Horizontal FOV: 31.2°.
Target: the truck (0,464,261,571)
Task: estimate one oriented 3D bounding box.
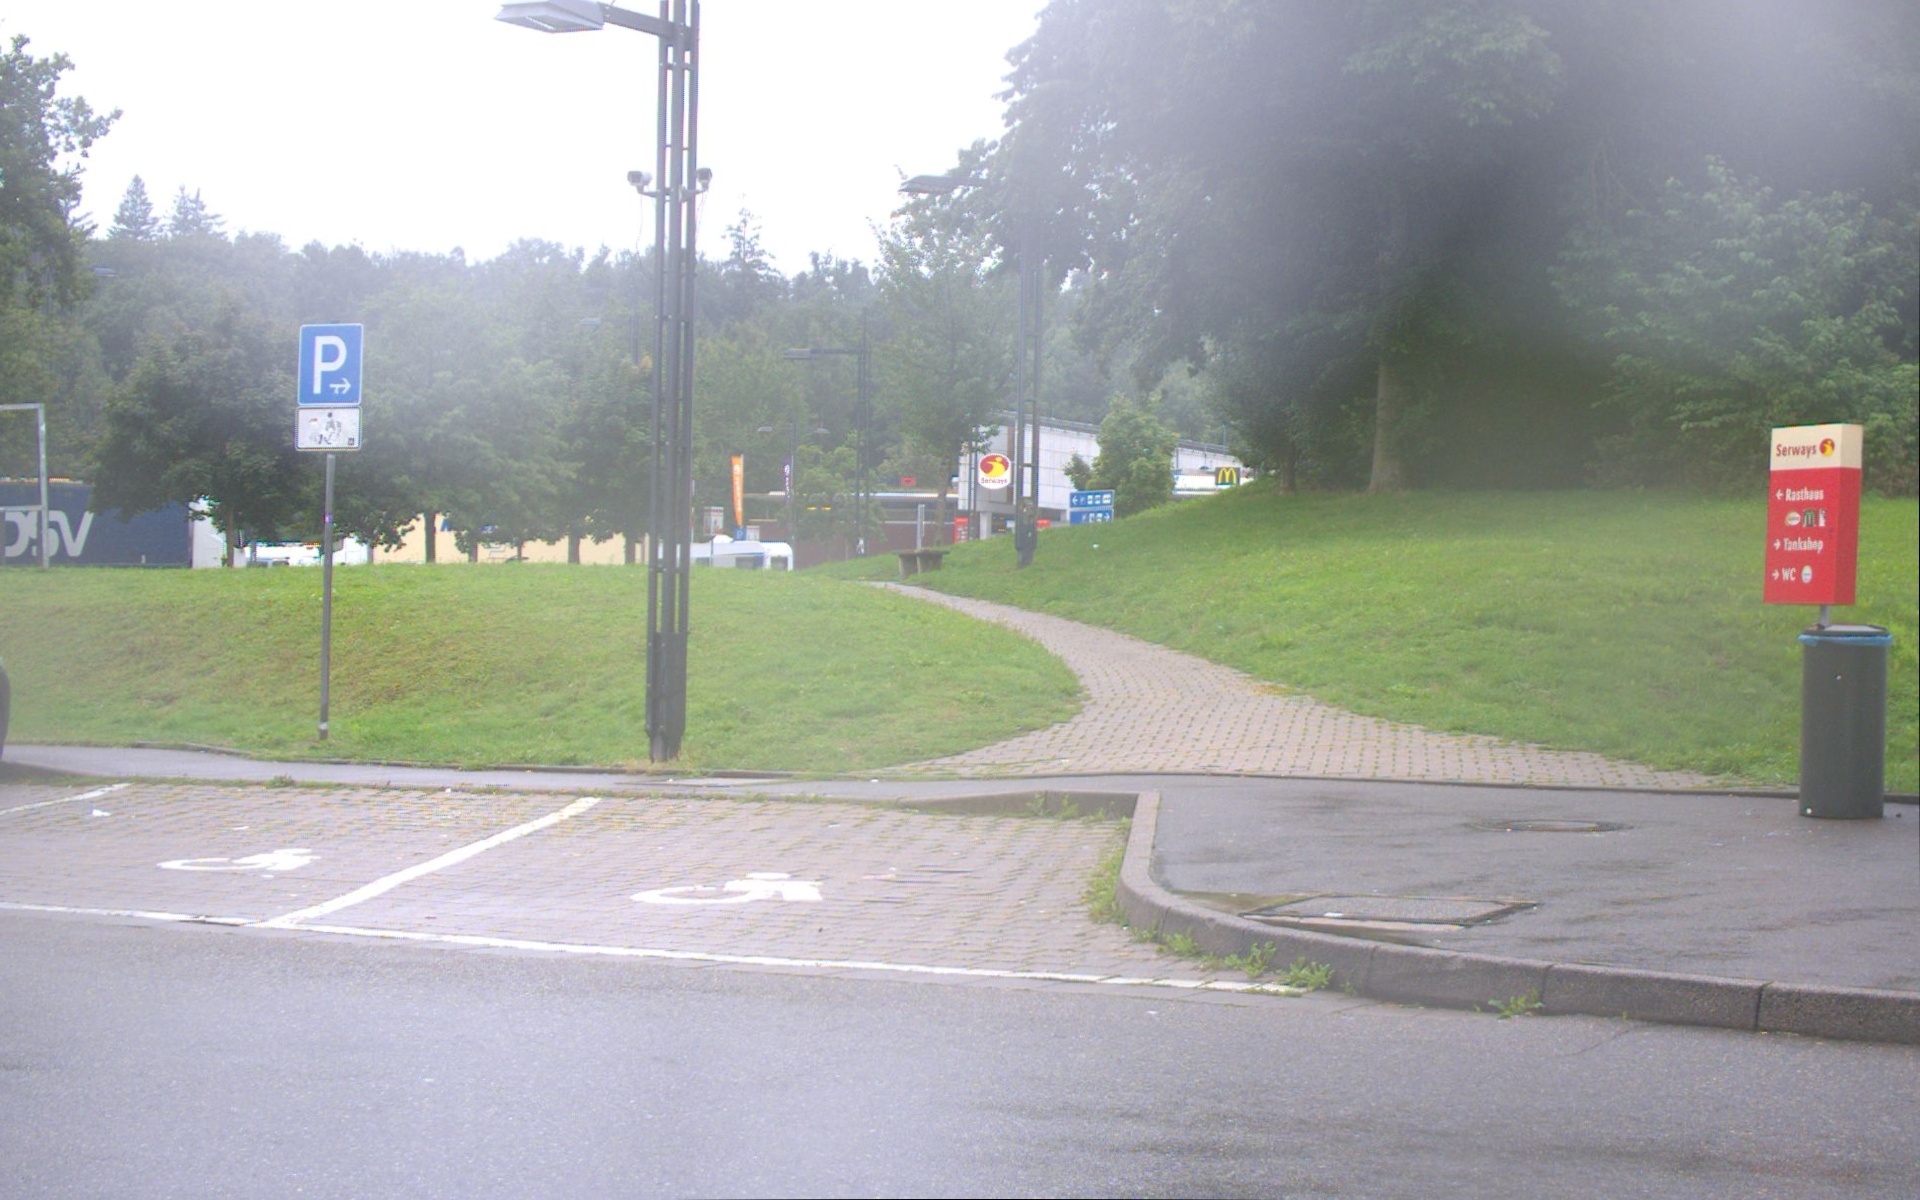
[{"bbox_3d":[-25.470,-2.369,101.636,2.188,2.910,13.082,1,1,24],"label":"truck"}]

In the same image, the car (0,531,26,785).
[{"bbox_3d":[-7.805,0.452,21.499,2.018,1.705,4.341,-1,1,12],"label":"car"}]

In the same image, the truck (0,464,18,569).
[{"bbox_3d":[-28.608,-2.345,94.666,2.189,2.910,5.380,1,1,24],"label":"truck"}]

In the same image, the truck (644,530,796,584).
[{"bbox_3d":[-9.333,-1.664,133.814,5.413,2.007,2.364,1,1,25],"label":"truck"}]
